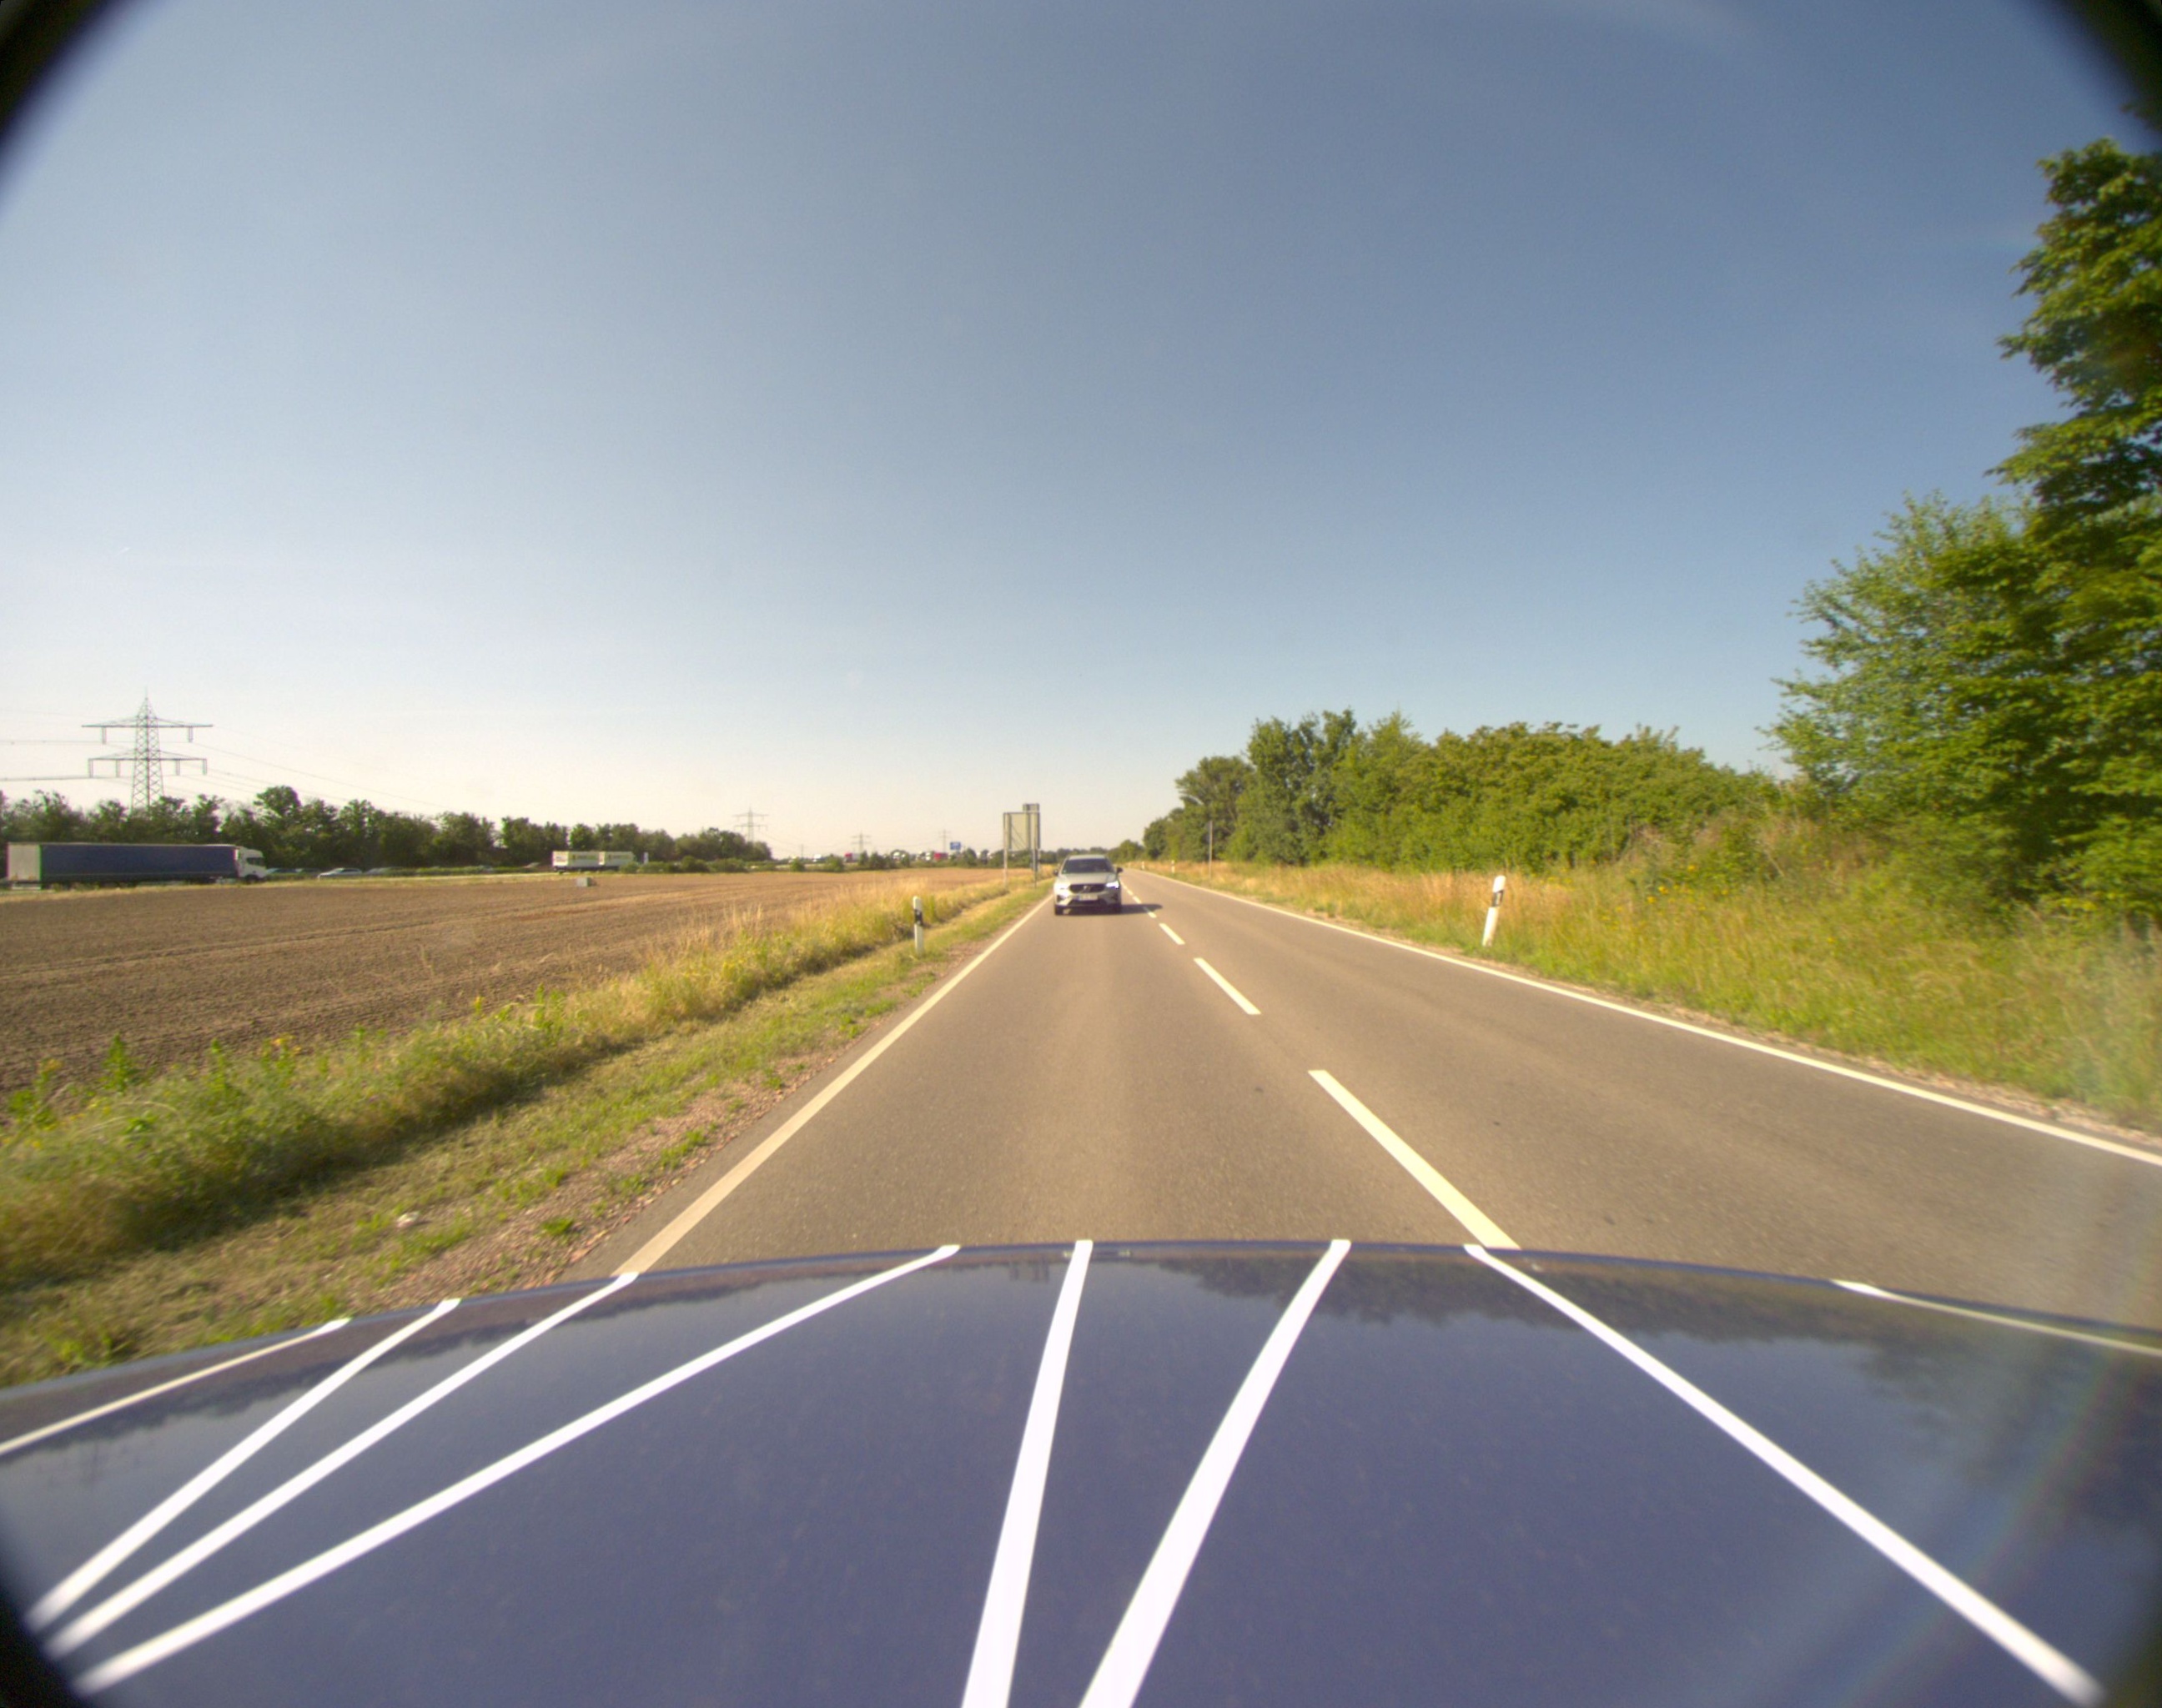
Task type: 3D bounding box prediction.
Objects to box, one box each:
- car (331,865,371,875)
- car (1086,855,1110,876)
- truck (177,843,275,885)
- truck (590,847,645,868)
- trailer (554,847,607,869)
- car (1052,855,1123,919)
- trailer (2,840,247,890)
[{"bbox_3d":[-92.923,1.994,96.751,1.344,1.118,3.862,-2,0,1],"label":"car"},{"bbox_3d":[1.379,0.962,63.042,1.840,1.628,4.135,-2,0,0],"label":"car"},{"bbox_3d":[-82.629,0.948,73.562,3.080,3.780,5.611,-2,0,-1],"label":"truck"},{"bbox_3d":[-81.828,0.595,134.361,2.813,3.457,11.120,-1,0,0],"label":"truck"},{"bbox_3d":[-81.855,0.631,124.455,2.800,3.395,8.717,-1,0,0],"label":"trailer"},{"bbox_3d":[0.221,0.878,22.214,1.840,1.628,4.136,-2,0,1],"label":"car"},{"bbox_3d":[-82.552,0.948,66.521,3.080,3.779,14.592,-2,-1,-1],"label":"trailer"}]
